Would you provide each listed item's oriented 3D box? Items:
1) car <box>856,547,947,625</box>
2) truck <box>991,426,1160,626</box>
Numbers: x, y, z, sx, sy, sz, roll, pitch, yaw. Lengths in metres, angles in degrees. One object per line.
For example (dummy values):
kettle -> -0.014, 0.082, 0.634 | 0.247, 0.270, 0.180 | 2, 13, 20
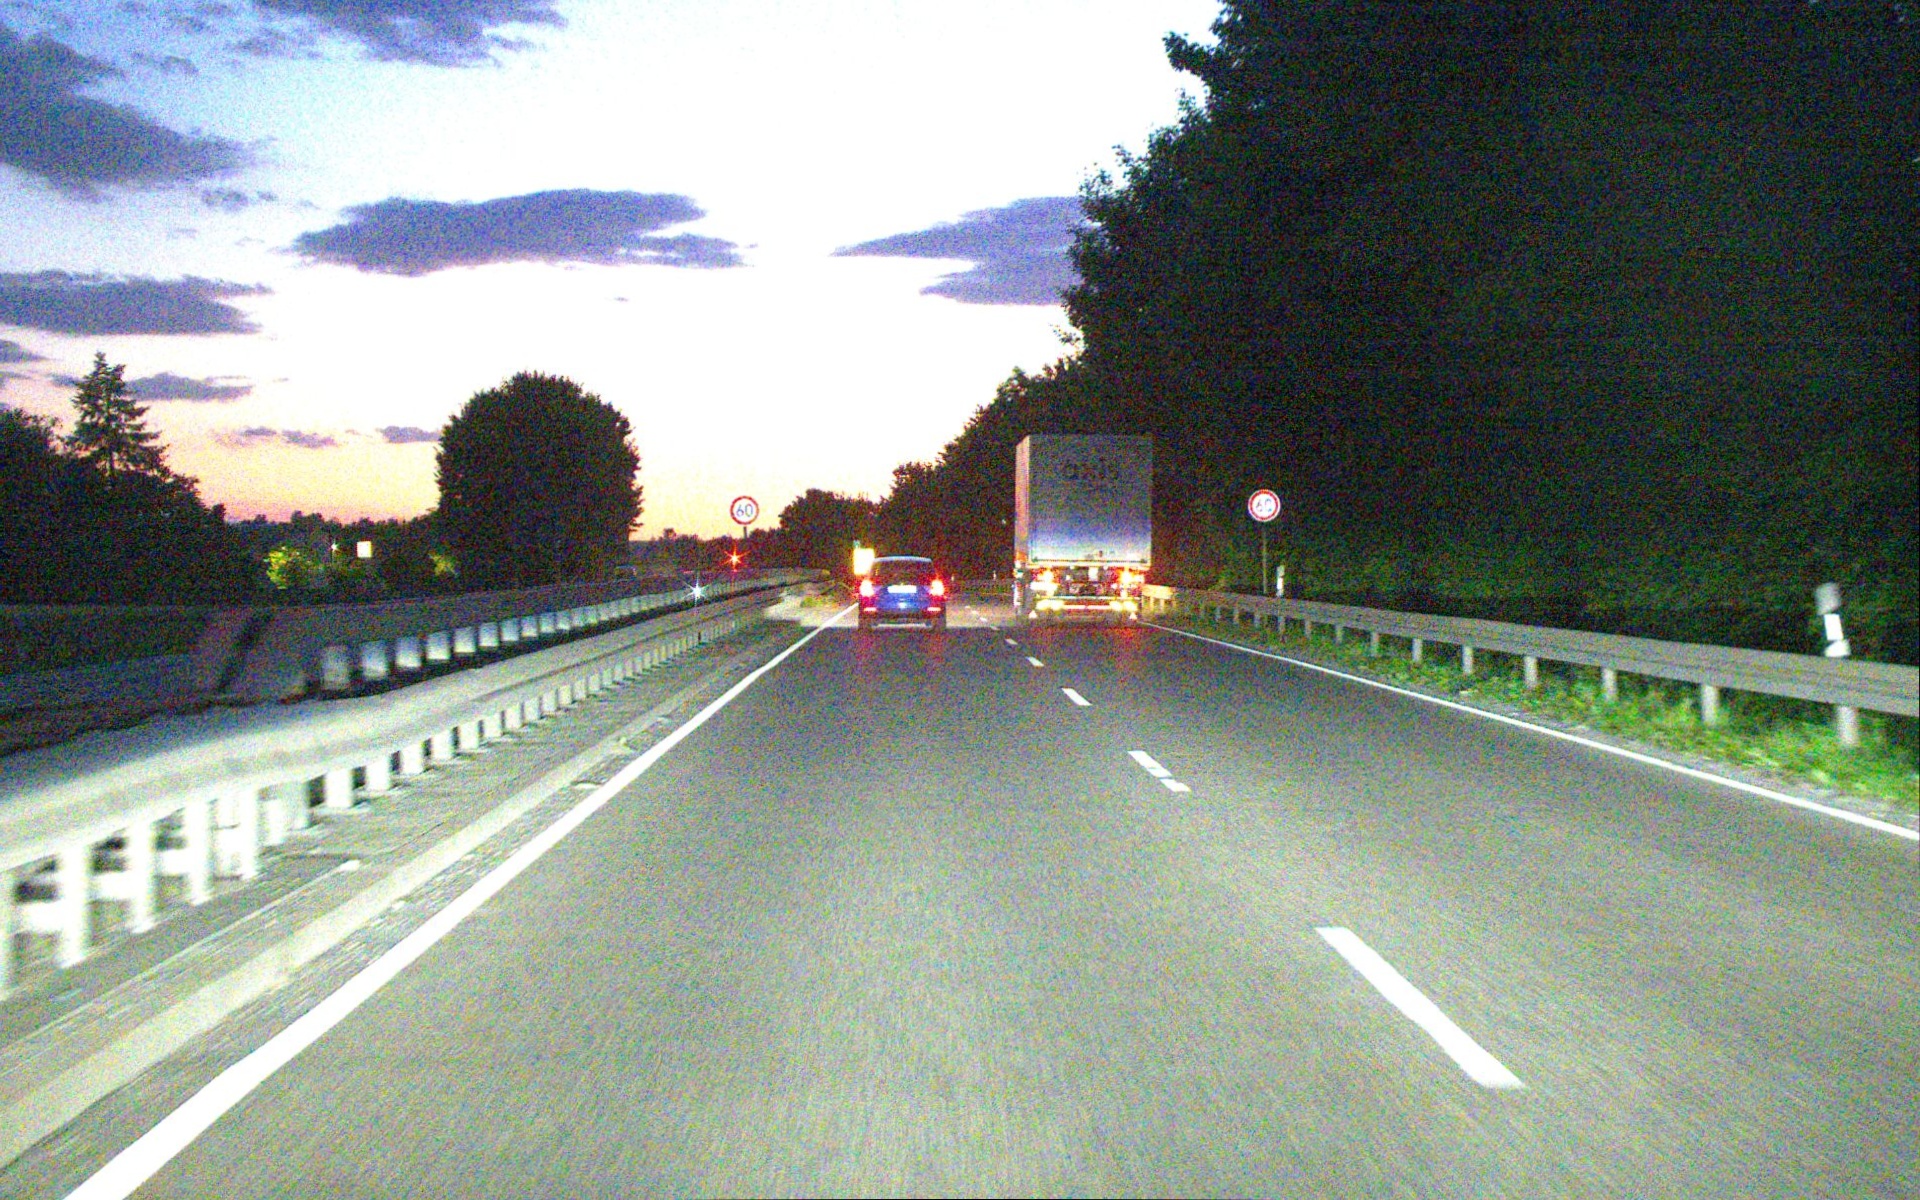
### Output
car -> -1.157, -0.290, 67.071 | 1.695, 1.447, 3.915 | 0, 1, -2
truck -> 2.431, -1.655, 76.867 | 2.883, 4.092, 12.685 | 0, 1, -2
